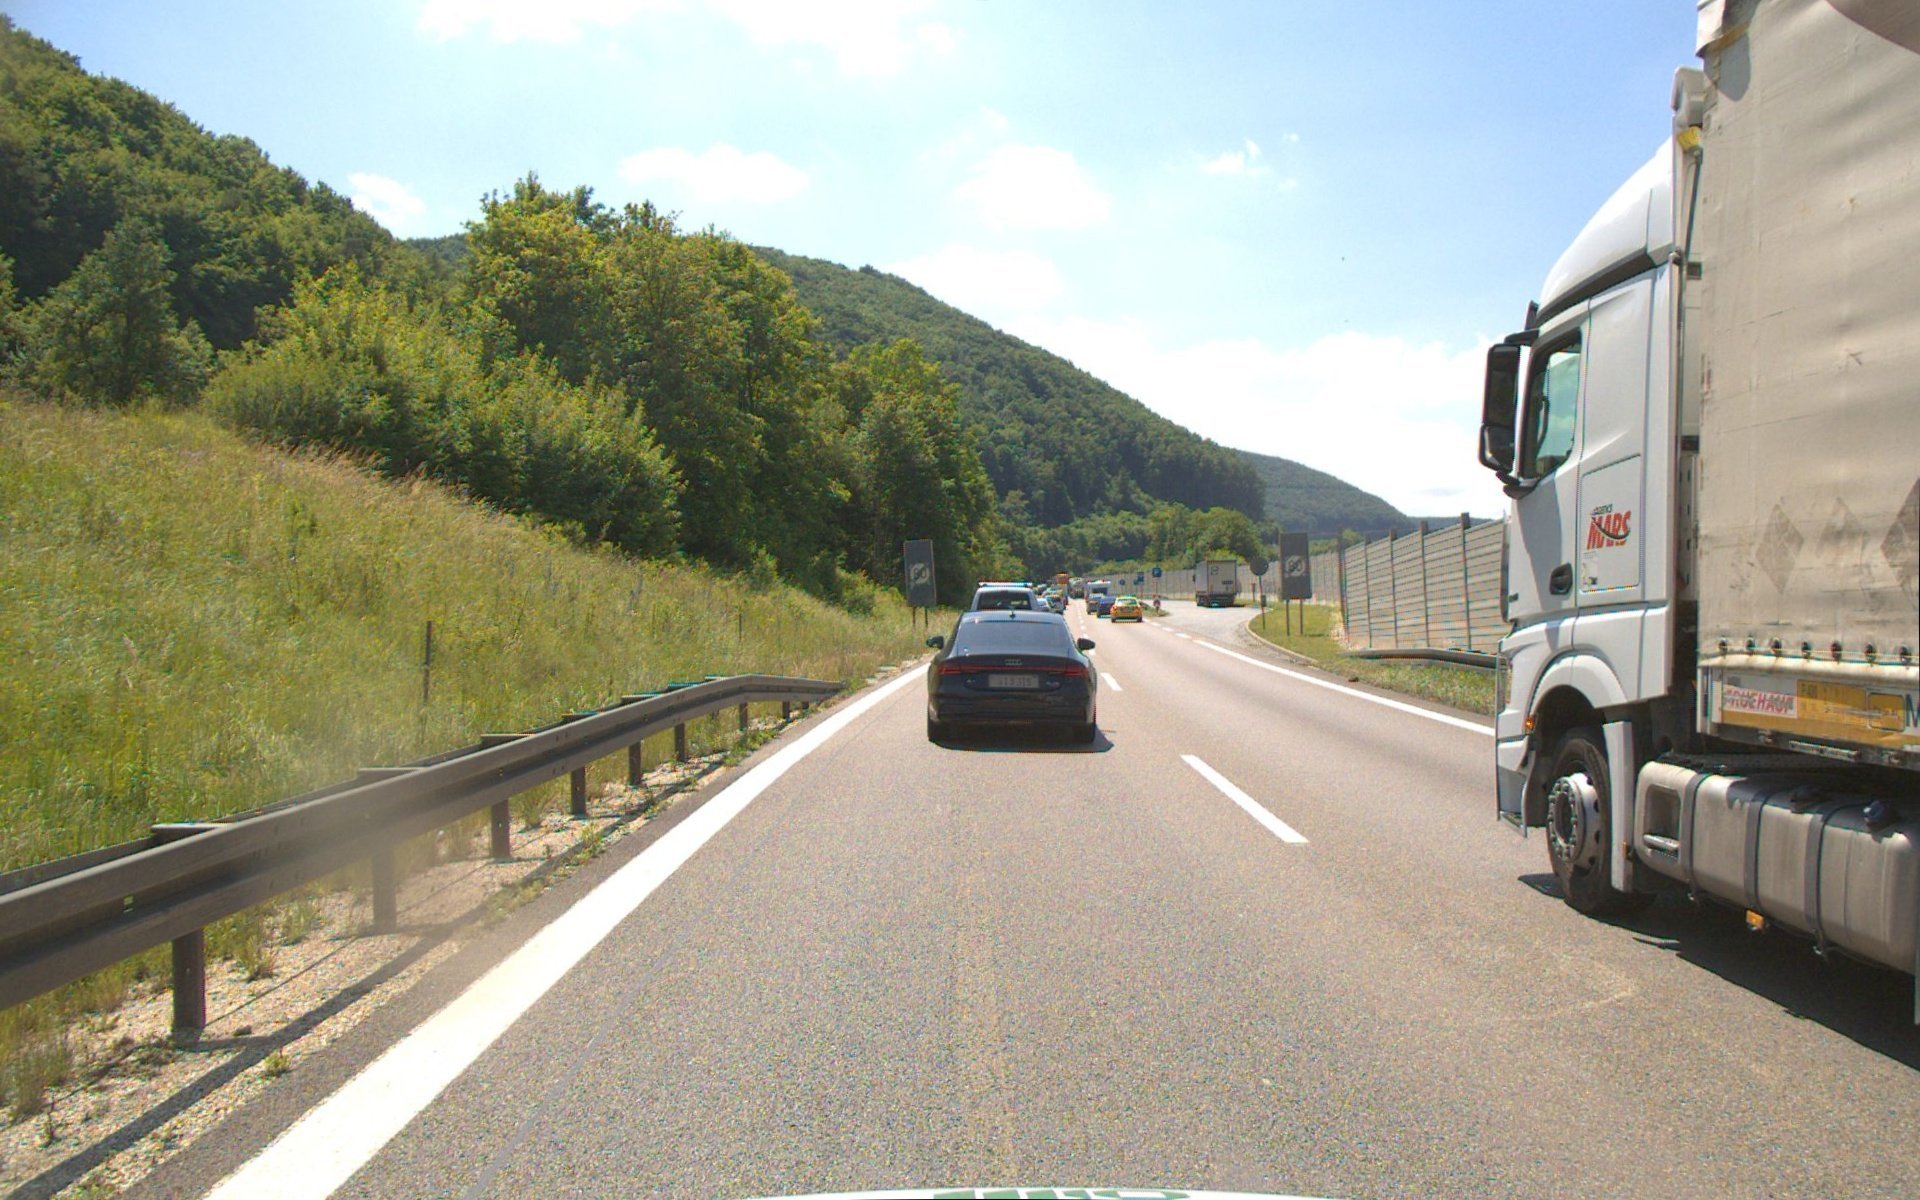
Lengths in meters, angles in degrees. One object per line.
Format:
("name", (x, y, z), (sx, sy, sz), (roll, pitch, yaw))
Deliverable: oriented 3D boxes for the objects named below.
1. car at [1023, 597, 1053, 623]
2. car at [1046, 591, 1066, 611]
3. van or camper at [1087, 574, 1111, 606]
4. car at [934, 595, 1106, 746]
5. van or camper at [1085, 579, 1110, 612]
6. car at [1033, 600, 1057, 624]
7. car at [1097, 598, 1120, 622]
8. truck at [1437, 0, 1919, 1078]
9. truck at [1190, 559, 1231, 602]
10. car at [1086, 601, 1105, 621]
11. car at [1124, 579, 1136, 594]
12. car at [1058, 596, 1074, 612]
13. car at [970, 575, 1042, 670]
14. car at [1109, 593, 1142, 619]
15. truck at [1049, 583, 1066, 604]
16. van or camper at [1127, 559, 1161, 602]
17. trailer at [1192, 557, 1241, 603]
("car", (4.170, 0.527, 88.809), (1.489, 1.317, 3.515), (1, 0, 2))
("car", (7.976, 0.071, 137.234), (1.489, 1.580, 3.516), (2, 0, 5))
("van or camper", (17.626, -1.272, 210.362), (2.736, 3.975, 6.168), (1, -1, 2))
("car", (0.622, 0.727, 18.806), (1.775, 1.541, 3.514), (0, 0, 0))
("van or camper", (13.494, -0.418, 162.706), (2.378, 3.210, 5.206), (1, -1, 4))
("car", (5.804, 0.797, 112.752), (1.489, 1.580, 3.516), (2, 0, 4))
("car", (10.246, 0.700, 114.507), (1.498, 1.552, 3.598), (1, -1, 4))
("truck", (4.285, -0.546, 7.000), (2.665, 4.139, 5.751), (0, -1, -3))
("truck", (23.404, -1.785, 154.857), (3.340, 3.968, 5.390), (0, 0, 4))
("car", (11.064, 0.929, 134.905), (1.498, 1.552, 3.598), (1, -1, 4))
("car", (24.384, -1.940, 237.672), (1.543, 2.049, 3.430), (-1, 0, 4))
("car", (11.125, 0.454, 173.823), (1.489, 1.580, 3.516), (2, 0, 5))
("car", (1.075, 0.486, 37.238), (1.489, 2.003, 3.515), (2, 0, 3))
("car", (9.788, 0.352, 97.860), (1.839, 1.525, 4.002), (-1, 0, 4))
("truck", (13.056, -0.817, 220.858), (2.021, 2.651, 5.617), (2, 0, 6))
("van or camper", (17.593, -1.847, 158.401), (2.736, 3.909, 6.168), (1, -1, 2))
("trailer", (22.986, -1.739, 148.644), (3.340, 3.968, 11.156), (0, 0, 4))
